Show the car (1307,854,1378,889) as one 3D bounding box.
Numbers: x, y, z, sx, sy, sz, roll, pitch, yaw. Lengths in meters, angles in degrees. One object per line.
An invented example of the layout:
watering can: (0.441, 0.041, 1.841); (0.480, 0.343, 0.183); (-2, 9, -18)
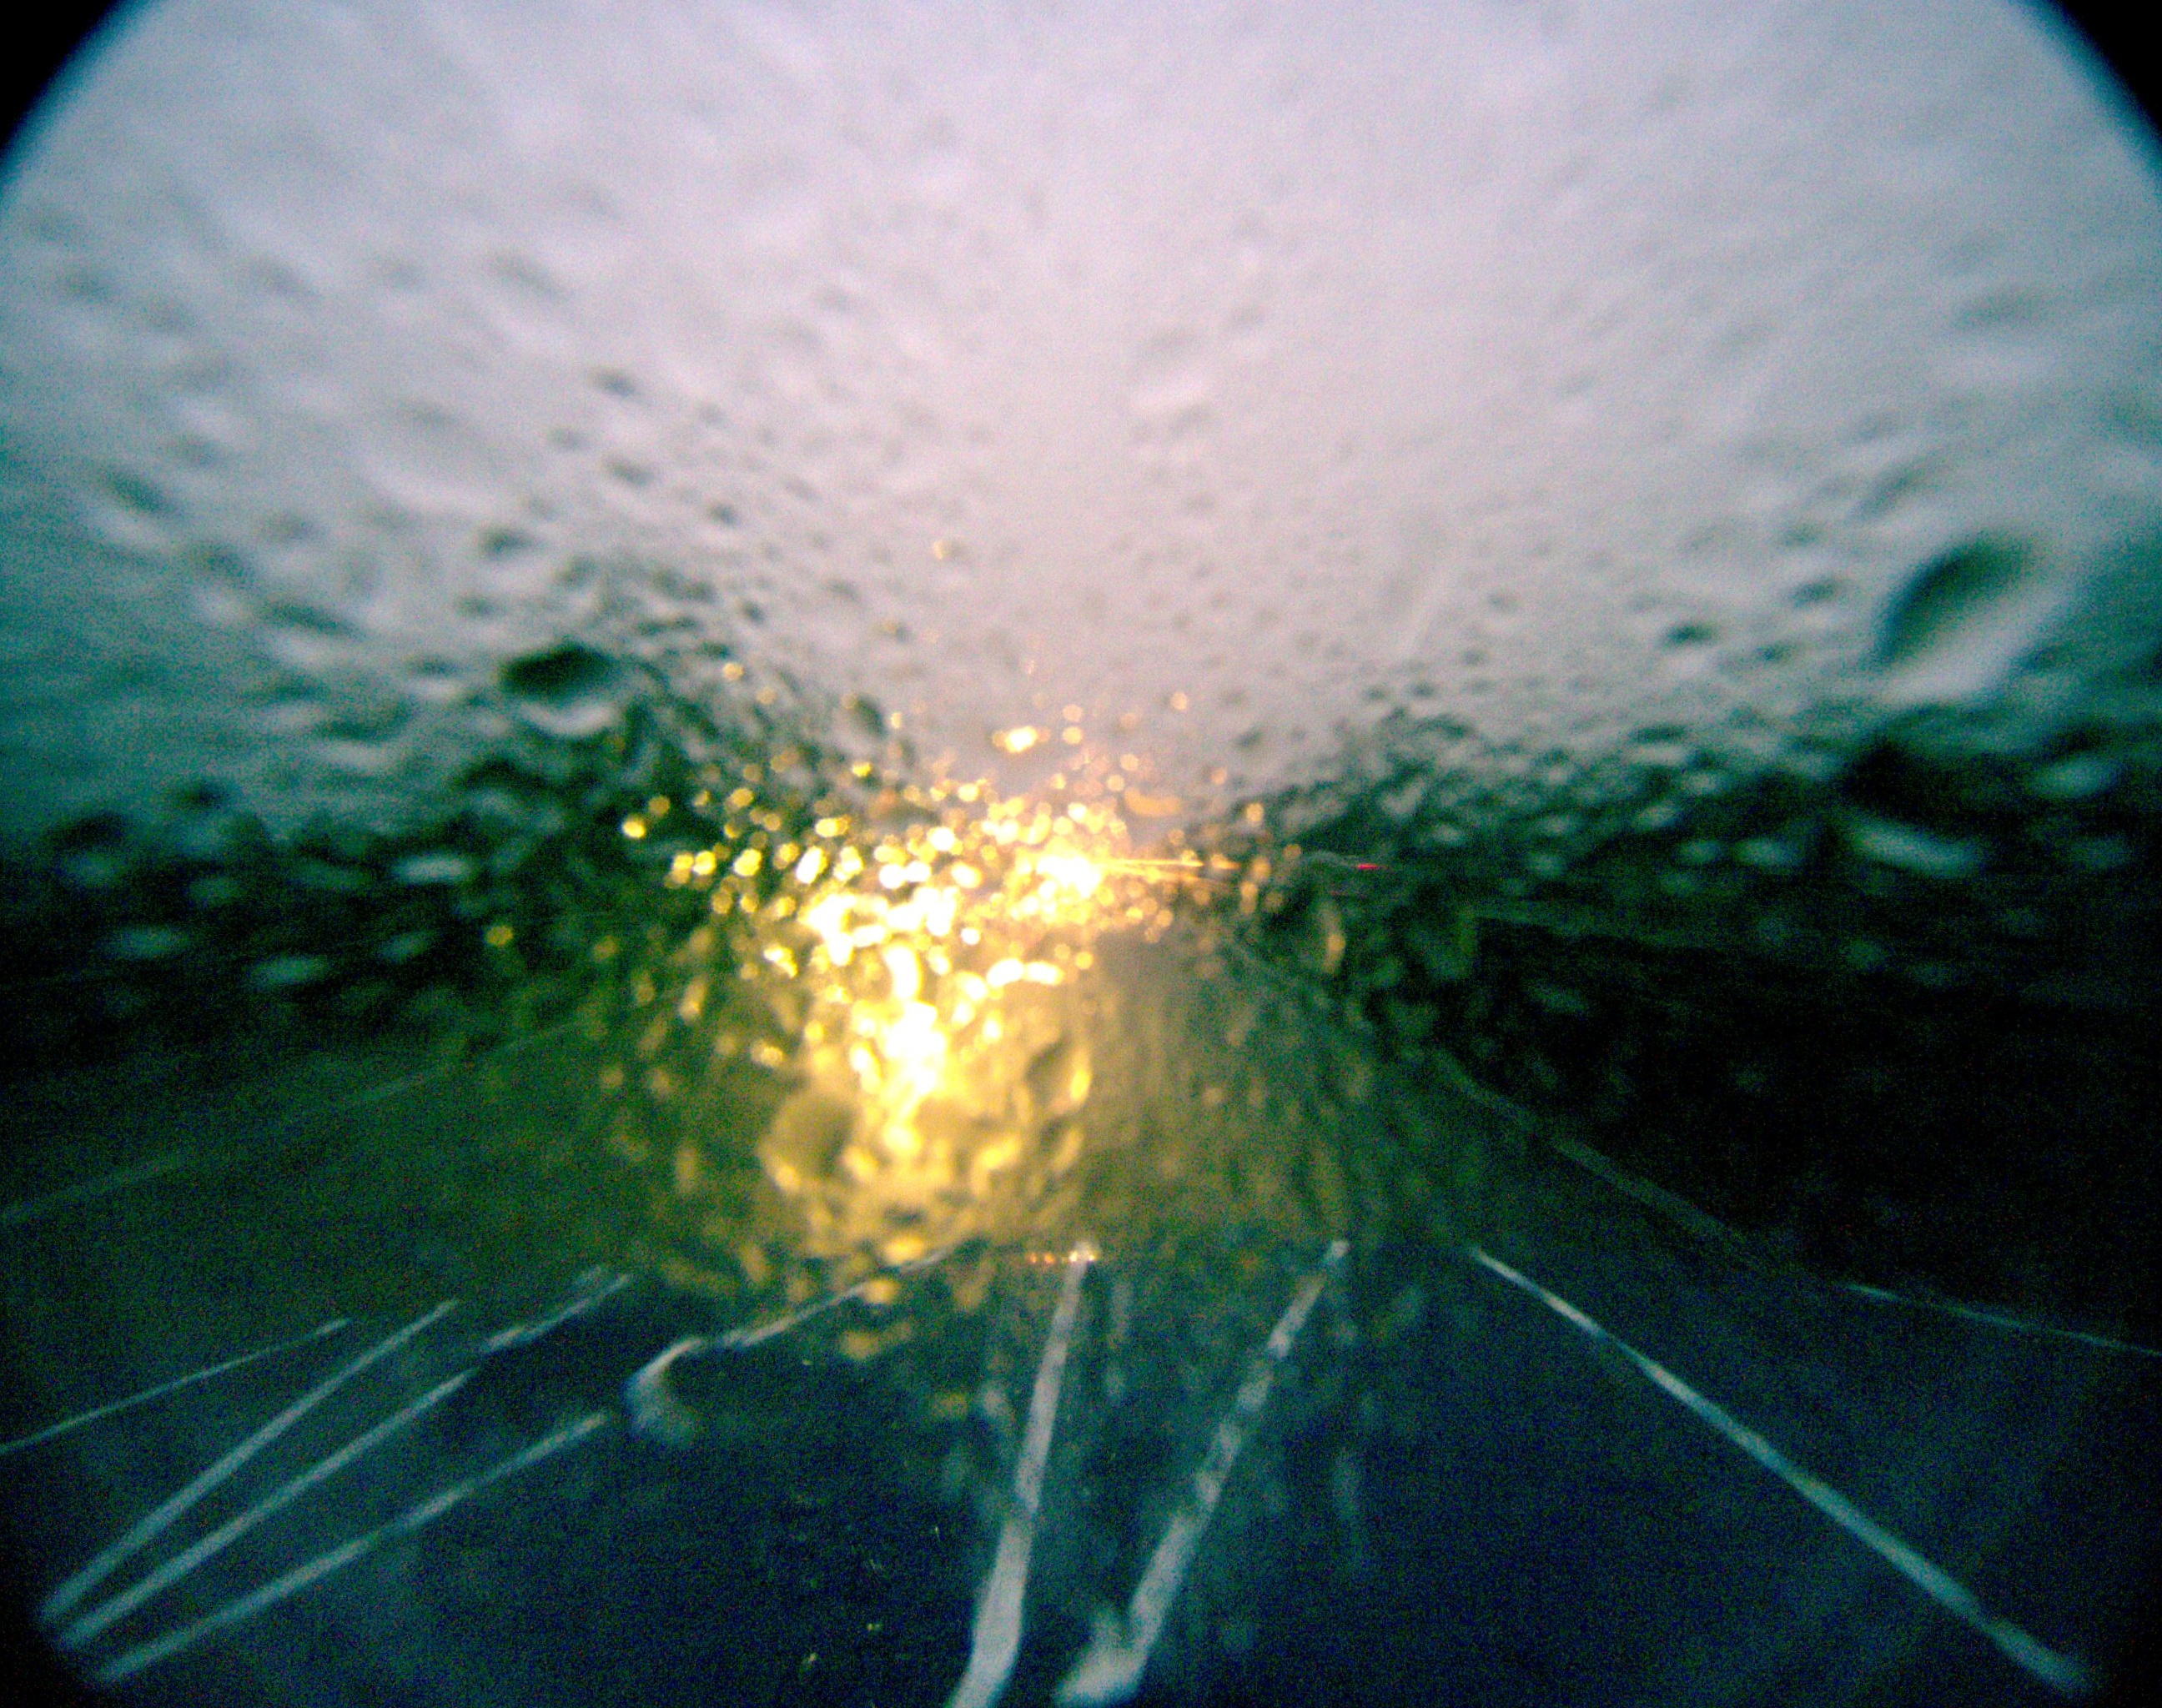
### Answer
car: (11.363, 0.719, 33.303); (1.721, 1.415, 4.000); (0, 0, 0)

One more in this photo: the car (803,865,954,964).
car: (-3.496, 0.969, 13.877); (1.802, 1.494, 3.999); (-1, -1, -3)

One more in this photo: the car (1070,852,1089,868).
car: (-0.195, 0.589, 73.020); (1.632, 1.465, 3.999); (-1, 0, -2)

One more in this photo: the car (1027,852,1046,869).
car: (-3.910, 0.596, 67.311); (1.632, 1.465, 3.999); (-1, 0, -2)
